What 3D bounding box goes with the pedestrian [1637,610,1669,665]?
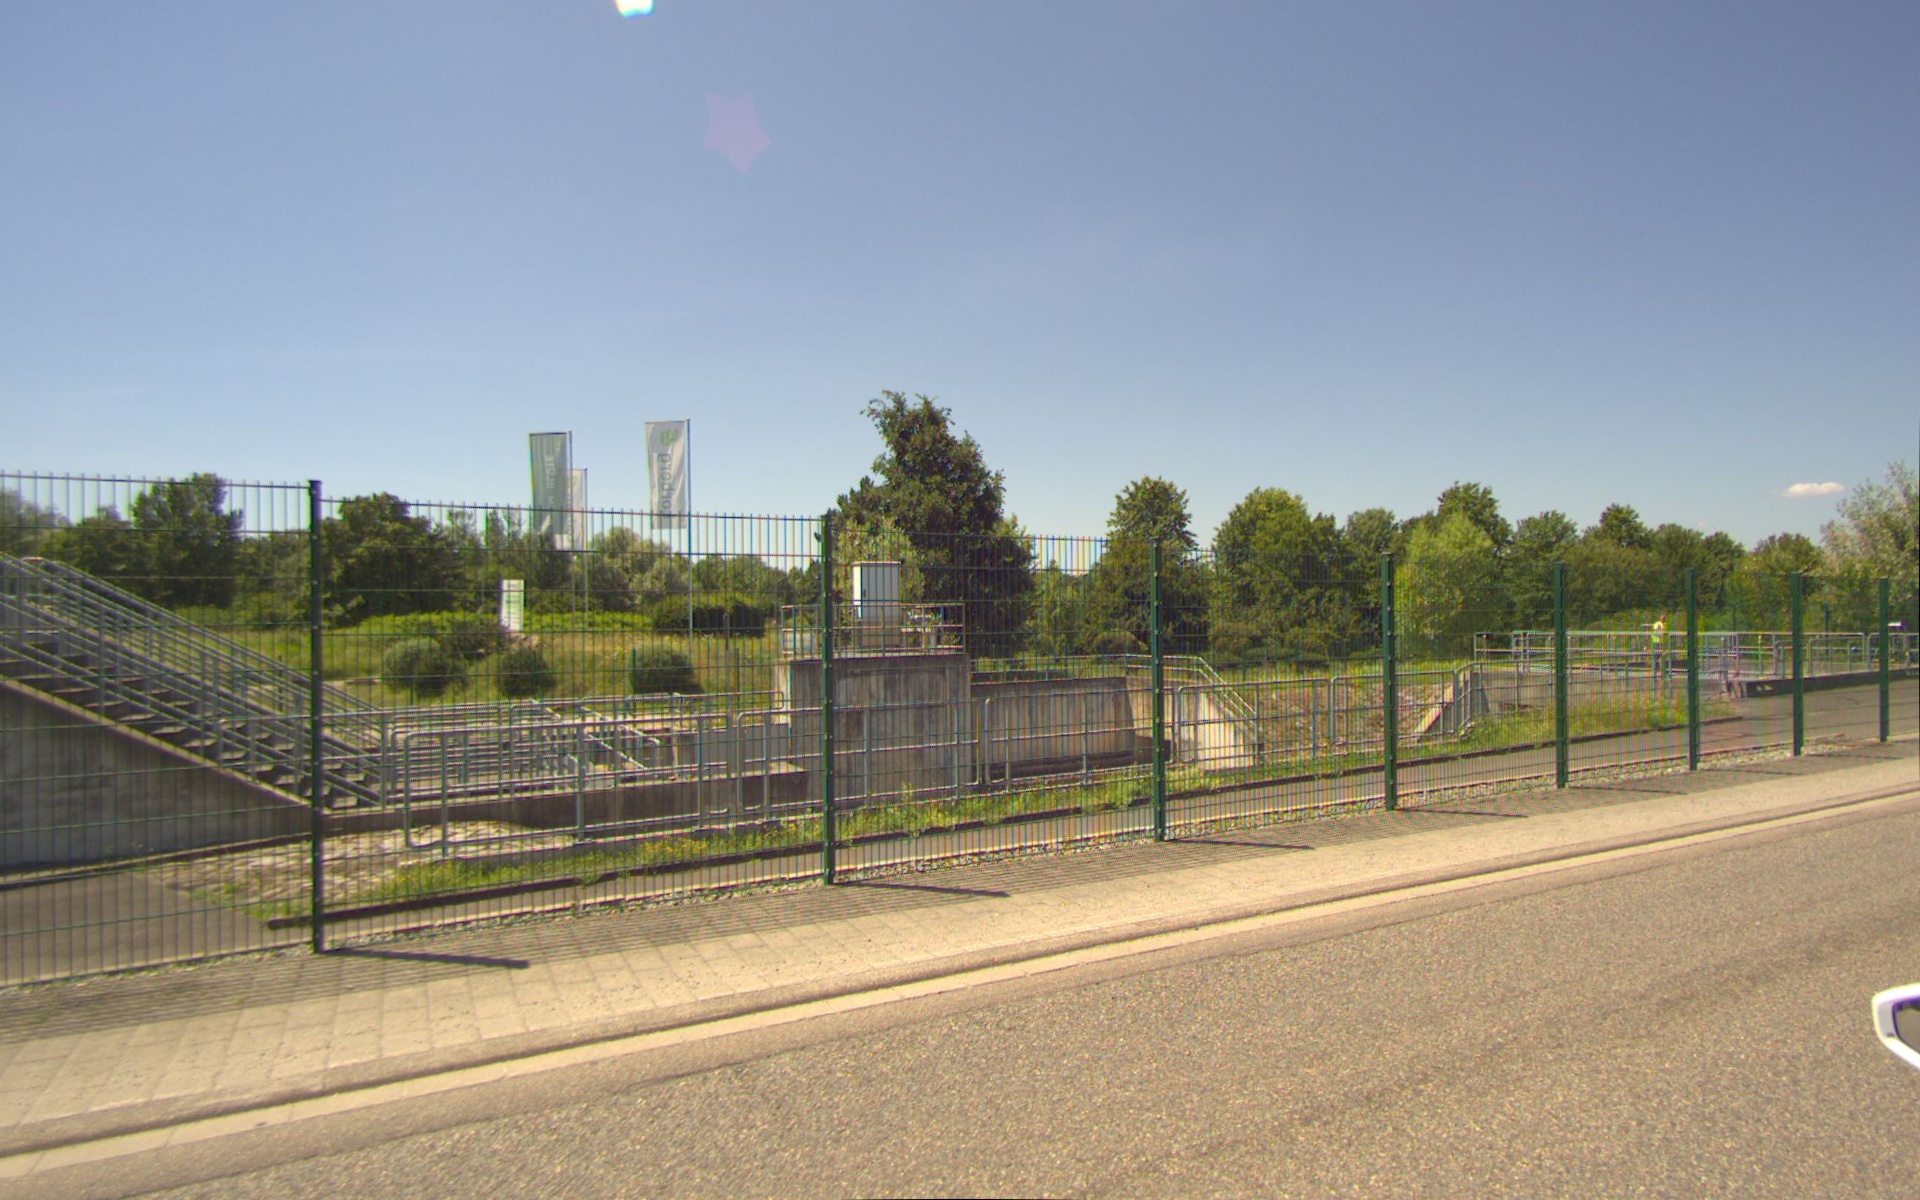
[{"bbox_3d":[24.004,1.295,34.776,0.796,1.863,0.603,1,-3,-31],"label":"pedestrian"}]
